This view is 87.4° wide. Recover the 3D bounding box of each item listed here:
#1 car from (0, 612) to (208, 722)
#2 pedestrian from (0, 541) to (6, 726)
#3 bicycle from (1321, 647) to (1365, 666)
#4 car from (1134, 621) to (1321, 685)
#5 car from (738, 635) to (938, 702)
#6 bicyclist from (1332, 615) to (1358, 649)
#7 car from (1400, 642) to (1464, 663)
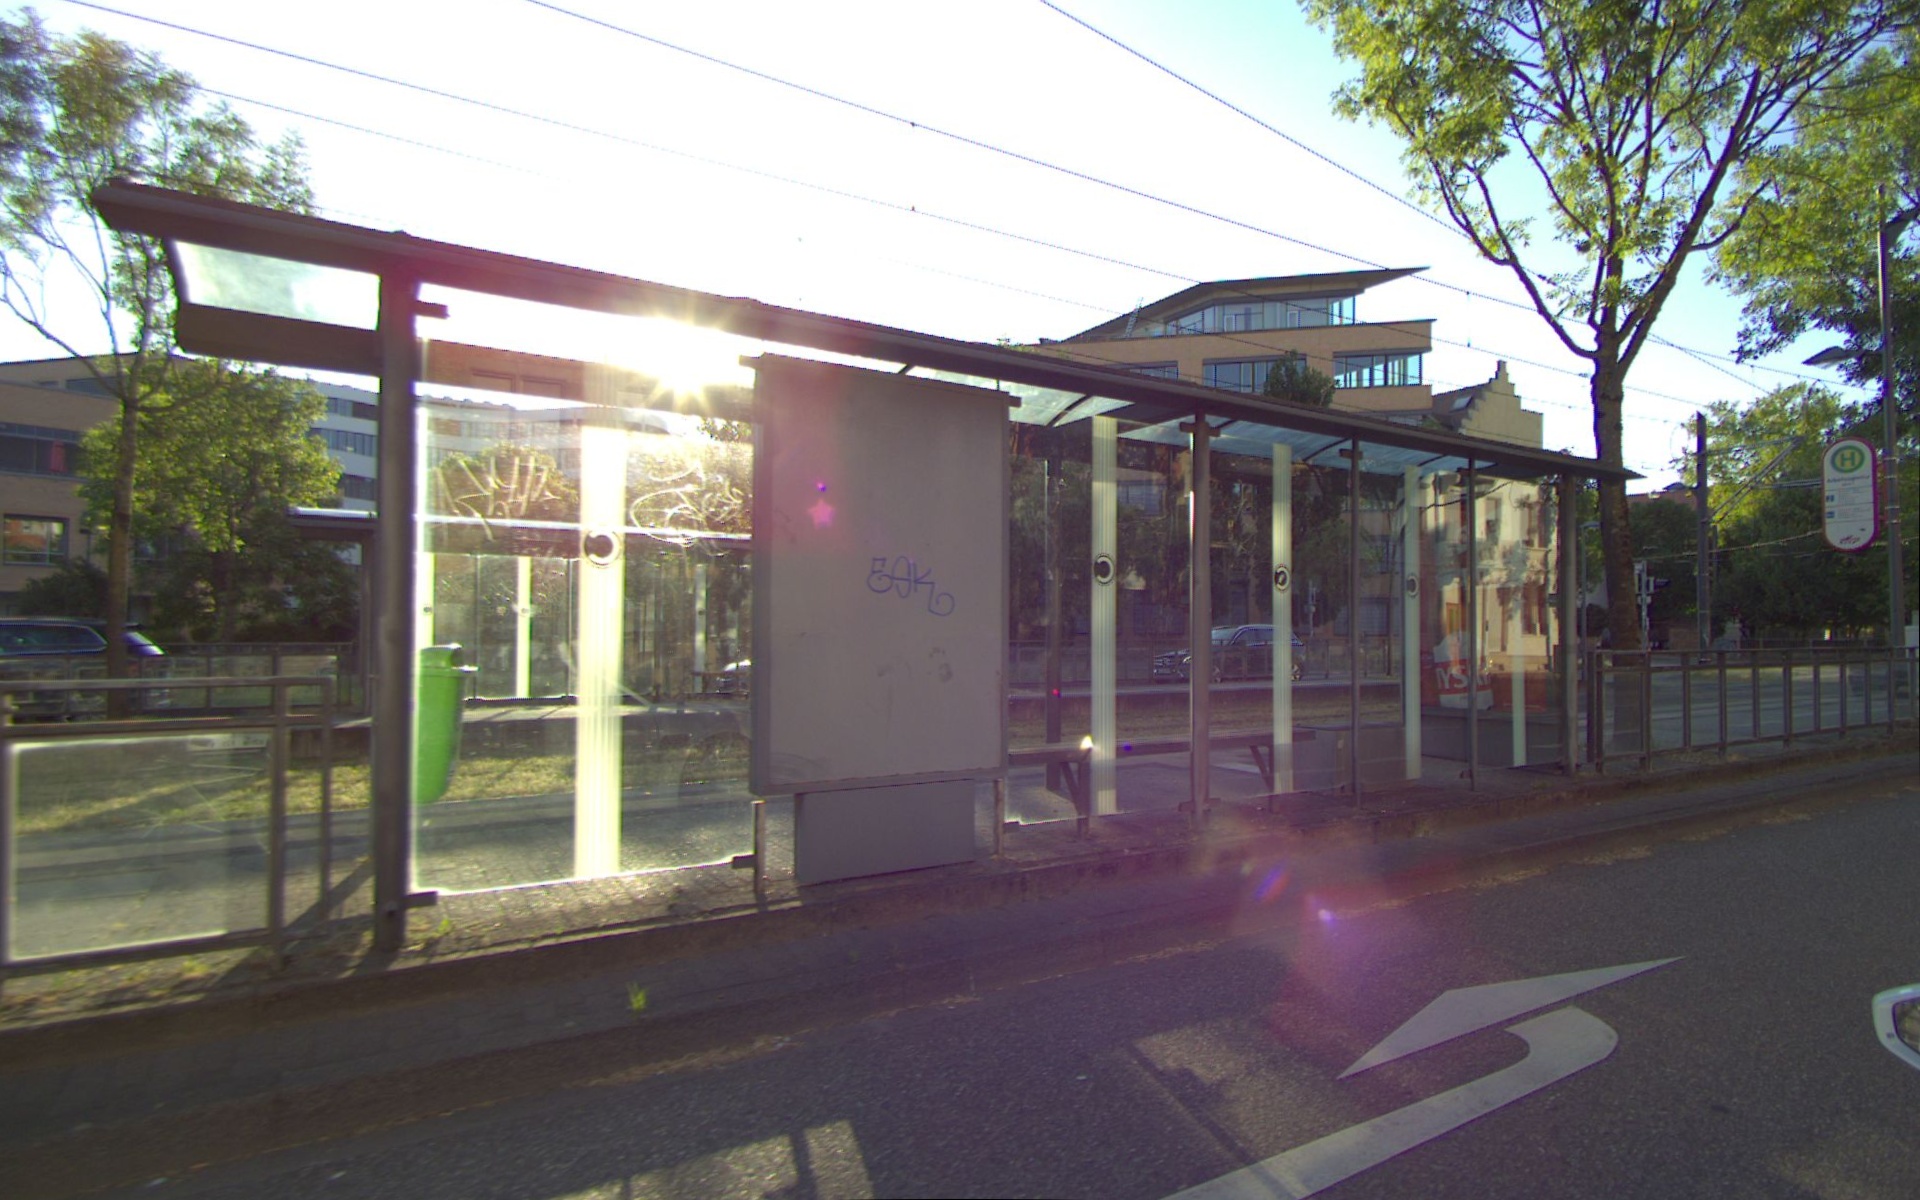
[{"bbox_3d":[-13.268,0.900,13.987,4.293,1.434,1.784,2,-1,-32],"label":"car"},{"bbox_3d":[-10.952,0.358,10.579,1.113,2.040,0.766,1,-2,-29],"label":"pedestrian"},{"bbox_3d":[17.039,2.508,44.639,1.942,0.832,0.771,1,-2,-29],"label":"bicycle"},{"bbox_3d":[7.113,1.367,26.610,4.836,1.572,1.984,1,-2,-30],"label":"car"},{"bbox_3d":[-2.804,1.549,23.509,4.386,1.432,1.600,2,-2,-33],"label":"car"},{"bbox_3d":[17.119,1.415,44.685,0.817,1.487,0.765,1,-2,-29],"label":"bicyclist"},{"bbox_3d":[35.779,3.927,76.200,1.977,1.505,3.967,1,-2,-31],"label":"car"}]
